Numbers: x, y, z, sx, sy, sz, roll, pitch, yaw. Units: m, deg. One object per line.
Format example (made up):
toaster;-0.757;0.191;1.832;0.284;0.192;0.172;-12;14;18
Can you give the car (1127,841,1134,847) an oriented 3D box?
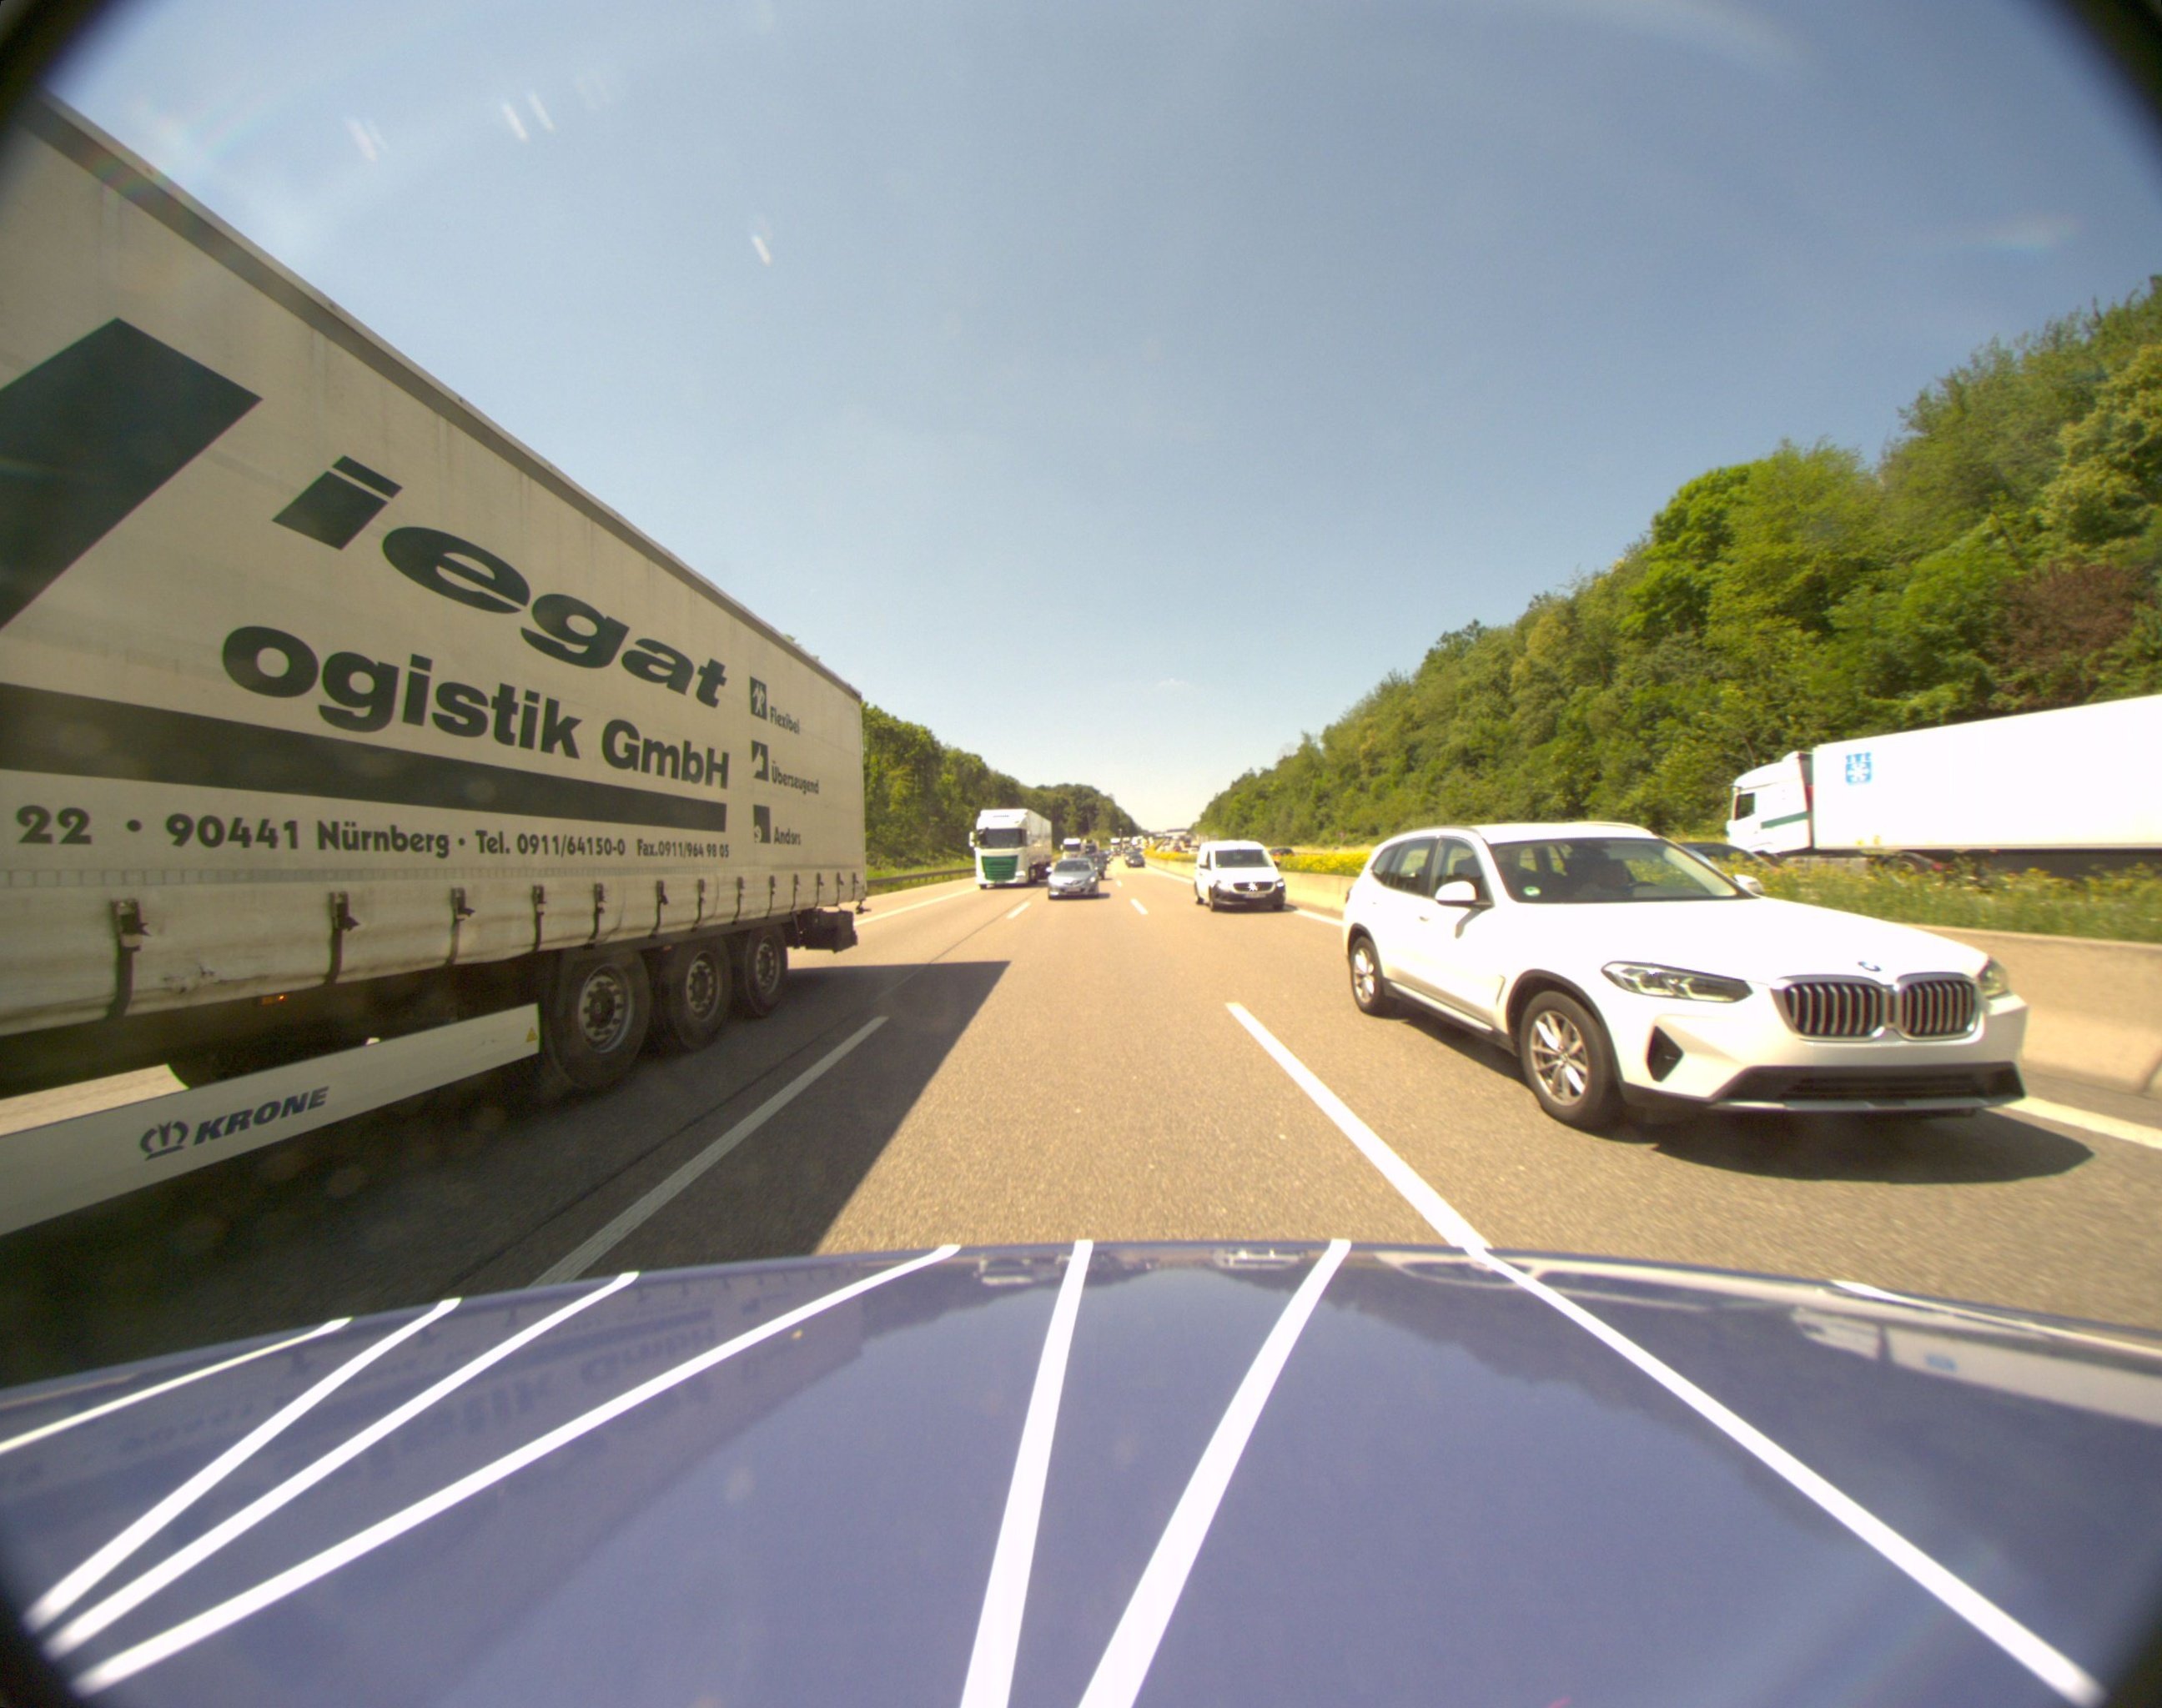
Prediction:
car;15.201;-2.973;231.685;1.998;1.728;4.000;-2;1;4

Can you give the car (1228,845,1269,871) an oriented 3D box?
car;11.796;0.261;53.765;1.998;1.668;4.080;-2;0;1

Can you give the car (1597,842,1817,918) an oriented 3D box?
car;14.674;0.522;18.156;1.998;1.563;3.999;-2;1;1

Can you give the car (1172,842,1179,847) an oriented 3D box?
car;26.296;-2.612;211.322;1.602;1.375;3.360;-2;1;5

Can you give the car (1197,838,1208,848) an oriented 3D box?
car;24.901;-2.219;155.460;1.637;2.002;3.999;-2;1;1

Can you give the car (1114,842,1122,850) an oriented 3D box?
car;8.690;-1.824;179.066;1.998;1.728;4.000;-2;1;2

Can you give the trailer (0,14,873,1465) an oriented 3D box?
trailer;-4.485;-0.306;4.313;2.793;4.180;13.244;-2;-1;0

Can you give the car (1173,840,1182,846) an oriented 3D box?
car;23.274;-2.610;182.834;1.673;1.381;3.508;-2;0;2

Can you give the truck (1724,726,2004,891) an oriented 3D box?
truck;21.961;-1.190;21.768;2.696;4.066;5.202;-2;1;1

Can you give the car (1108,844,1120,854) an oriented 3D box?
car;5.617;-0.853;130.832;1.998;1.728;4.000;-2;1;2

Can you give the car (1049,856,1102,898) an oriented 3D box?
car;-0.167;0.841;29.520;1.887;1.458;4.248;-2;0;1

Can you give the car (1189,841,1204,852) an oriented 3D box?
car;19.972;-1.267;131.402;1.998;1.740;4.000;-2;0;2

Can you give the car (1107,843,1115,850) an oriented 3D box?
car;7.917;-2.105;202.479;1.998;1.728;4.000;-2;1;4

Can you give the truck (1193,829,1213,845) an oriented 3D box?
truck;33.504;-4.761;209.085;3.718;4.171;13.793;-2;1;3

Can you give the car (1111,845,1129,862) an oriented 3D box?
car;4.839;-0.040;94.786;1.998;2.002;3.999;-2;1;0

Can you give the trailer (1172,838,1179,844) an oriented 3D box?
trailer;30.585;-4.135;246.290;1.998;2.002;4.000;-2;1;2

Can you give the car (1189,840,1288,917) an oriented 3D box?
car;4.093;0.583;20.451;1.769;1.802;4.674;-2;0;2

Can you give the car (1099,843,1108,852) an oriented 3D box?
car;5.353;-1.623;181.727;1.964;2.002;4.000;-2;0;1

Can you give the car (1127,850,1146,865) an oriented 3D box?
car;5.819;0.398;79.486;1.720;1.470;4.000;-2;0;1

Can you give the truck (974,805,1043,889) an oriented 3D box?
truck;-3.665;-0.389;40.014;2.541;4.006;6.625;-2;1;3

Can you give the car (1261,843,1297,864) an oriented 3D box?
car;15.988;-0.035;61.563;1.953;1.632;3.980;-2;0;1

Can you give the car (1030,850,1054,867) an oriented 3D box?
car;-3.746;0.412;72.930;1.934;1.534;3.756;-2;0;2

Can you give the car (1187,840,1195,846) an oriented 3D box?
car;28.248;-2.746;194.544;1.618;1.381;3.509;-2;0;3

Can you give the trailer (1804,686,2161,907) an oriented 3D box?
trailer;21.831;-1.123;14.624;2.722;4.183;13.930;-2;1;1

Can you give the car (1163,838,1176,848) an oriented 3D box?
car;17.570;-2.195;151.190;1.998;2.002;4.900;-2;1;2

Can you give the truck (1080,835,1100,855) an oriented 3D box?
truck;1.755;-1.781;146.555;3.558;3.695;7.550;-2;1;2

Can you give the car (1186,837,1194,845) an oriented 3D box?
car;33.884;-3.936;236.571;1.998;2.416;4.000;-2;1;2

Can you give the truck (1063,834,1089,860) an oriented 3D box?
truck;-0.633;-0.943;103.651;3.263;3.337;6.862;-2;1;1

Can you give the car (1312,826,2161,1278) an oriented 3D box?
car;3.347;0.759;5.392;1.869;1.684;4.955;-2;0;0

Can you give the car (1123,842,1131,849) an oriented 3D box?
car;12.364;-2.301;205.802;1.998;1.728;4.000;-2;1;4

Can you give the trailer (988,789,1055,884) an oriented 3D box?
trailer;-3.440;-1.047;48.290;2.574;5.011;15.270;-2;1;1

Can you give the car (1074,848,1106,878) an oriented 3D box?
car;0.578;0.553;47.842;1.887;1.696;4.084;-2;0;1

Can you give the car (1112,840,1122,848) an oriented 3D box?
car;11.260;-3.140;237.591;2.697;2.467;6.585;-2;1;4

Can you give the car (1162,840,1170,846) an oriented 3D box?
car;26.290;-3.487;234.603;1.922;1.658;4.000;-2;1;2

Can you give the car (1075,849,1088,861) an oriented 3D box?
car;0.079;0.080;114.225;1.924;1.652;3.826;-2;1;1

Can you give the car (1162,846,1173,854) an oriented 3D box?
car;19.064;-0.920;167.877;1.998;1.543;4.000;-2;0;2
